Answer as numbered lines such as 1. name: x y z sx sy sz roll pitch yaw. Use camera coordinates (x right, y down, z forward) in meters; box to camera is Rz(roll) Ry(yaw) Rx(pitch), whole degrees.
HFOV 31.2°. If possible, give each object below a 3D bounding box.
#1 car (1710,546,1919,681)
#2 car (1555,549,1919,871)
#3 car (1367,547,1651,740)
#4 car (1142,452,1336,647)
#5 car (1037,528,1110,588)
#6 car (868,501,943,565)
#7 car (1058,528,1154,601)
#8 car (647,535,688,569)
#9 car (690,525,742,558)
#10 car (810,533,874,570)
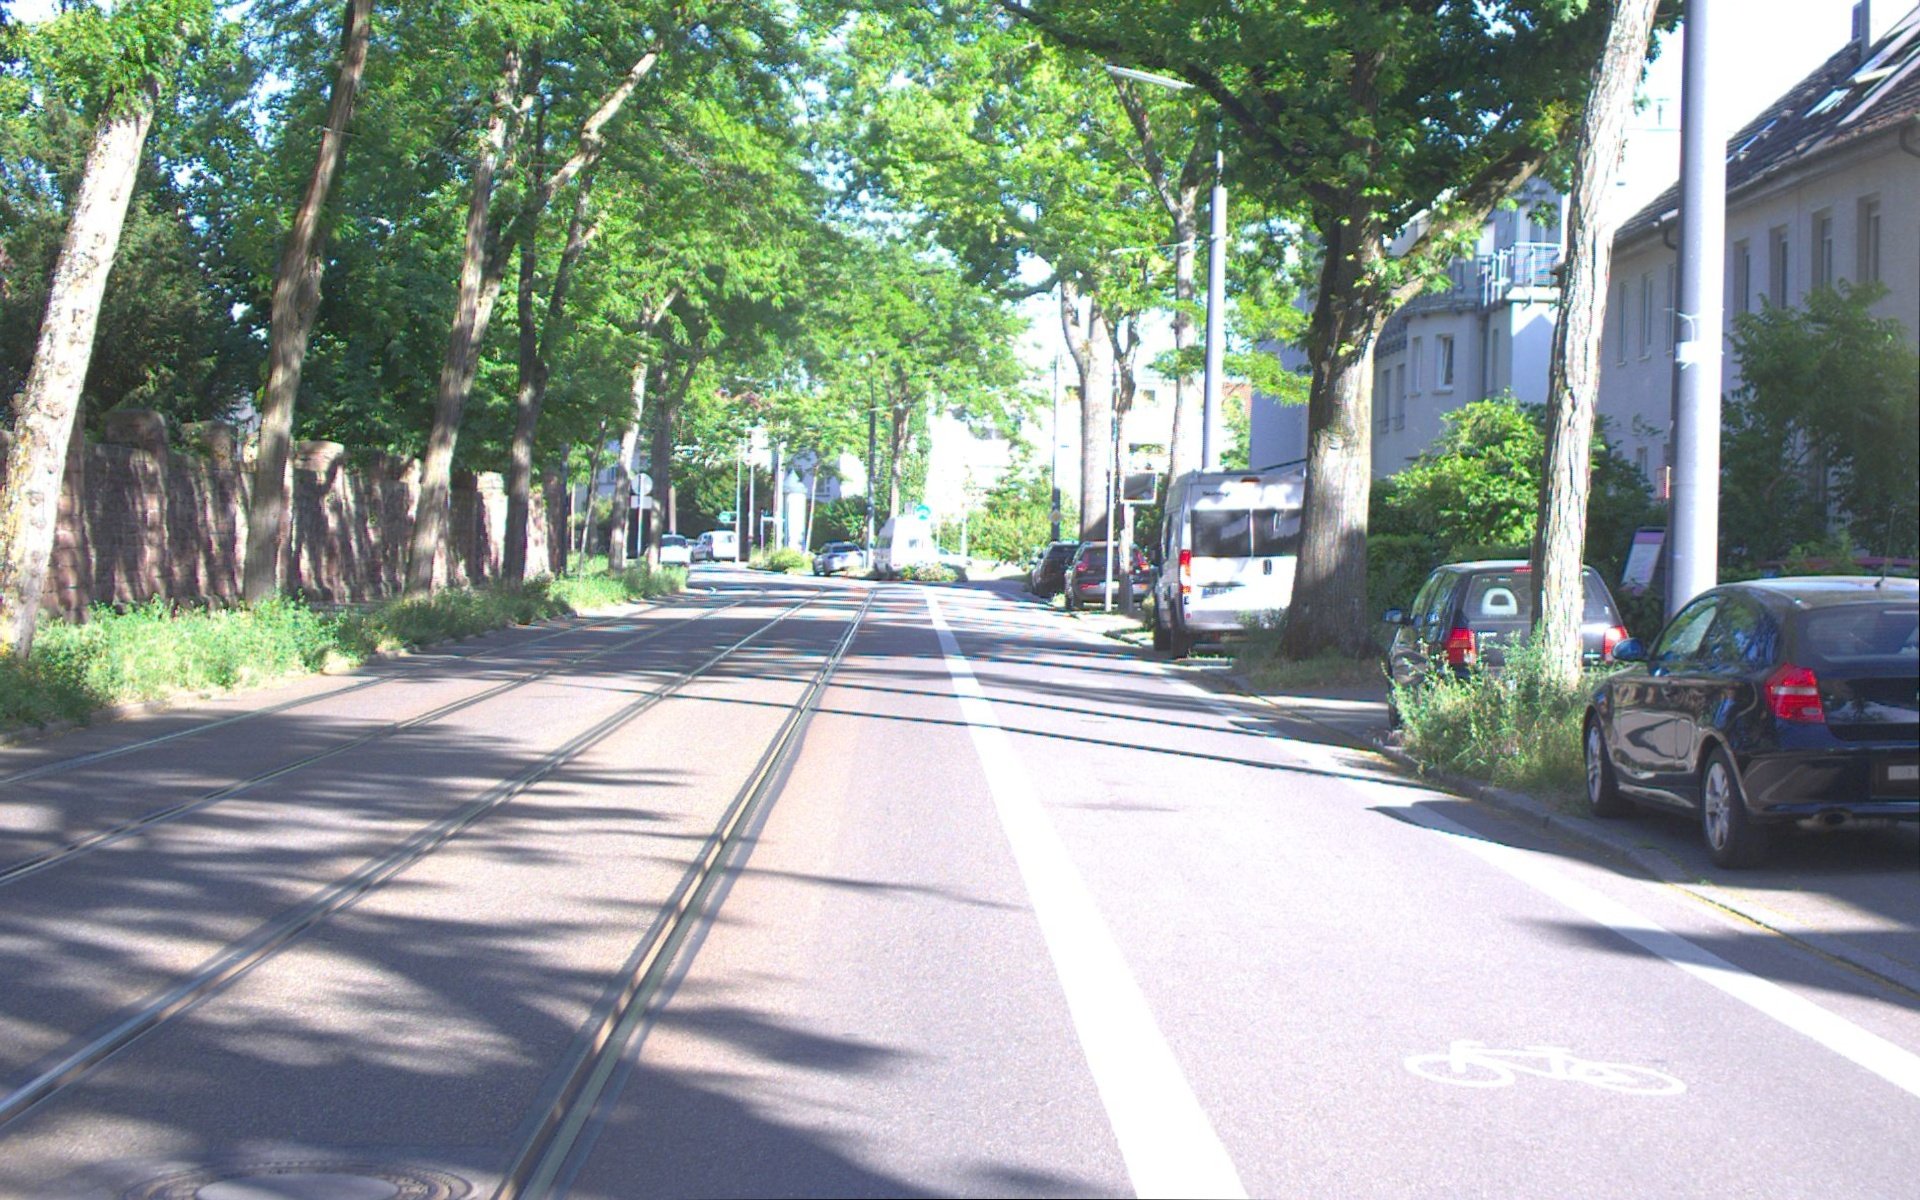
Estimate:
1. car: 10.208 0.123 37.853 3.396 1.431 1.735 0 1 -13
2. car: 4.558 0.488 18.457 1.784 1.443 4.302 -1 1 -2
3. car: 4.377 0.300 27.880 1.627 1.393 3.646 -1 1 -1
4. car: 3.947 -0.739 49.630 2.245 2.645 5.586 0 1 -1
5. car: 3.294 -1.229 99.009 2.003 1.669 4.392 0 1 3
6. car: -2.166 -2.629 135.047 1.993 2.449 4.510 1 1 -14
7. car: 3.441 -0.871 81.616 2.003 1.669 4.393 0 1 -1
8. car: -14.706 -2.409 172.855 1.865 1.669 4.174 1 1 -7
9. car: -14.417 -3.465 202.700 2.002 1.903 4.393 -1 1 -18
10. car: -5.281 -2.159 152.822 2.002 1.555 4.394 1 1 -13
